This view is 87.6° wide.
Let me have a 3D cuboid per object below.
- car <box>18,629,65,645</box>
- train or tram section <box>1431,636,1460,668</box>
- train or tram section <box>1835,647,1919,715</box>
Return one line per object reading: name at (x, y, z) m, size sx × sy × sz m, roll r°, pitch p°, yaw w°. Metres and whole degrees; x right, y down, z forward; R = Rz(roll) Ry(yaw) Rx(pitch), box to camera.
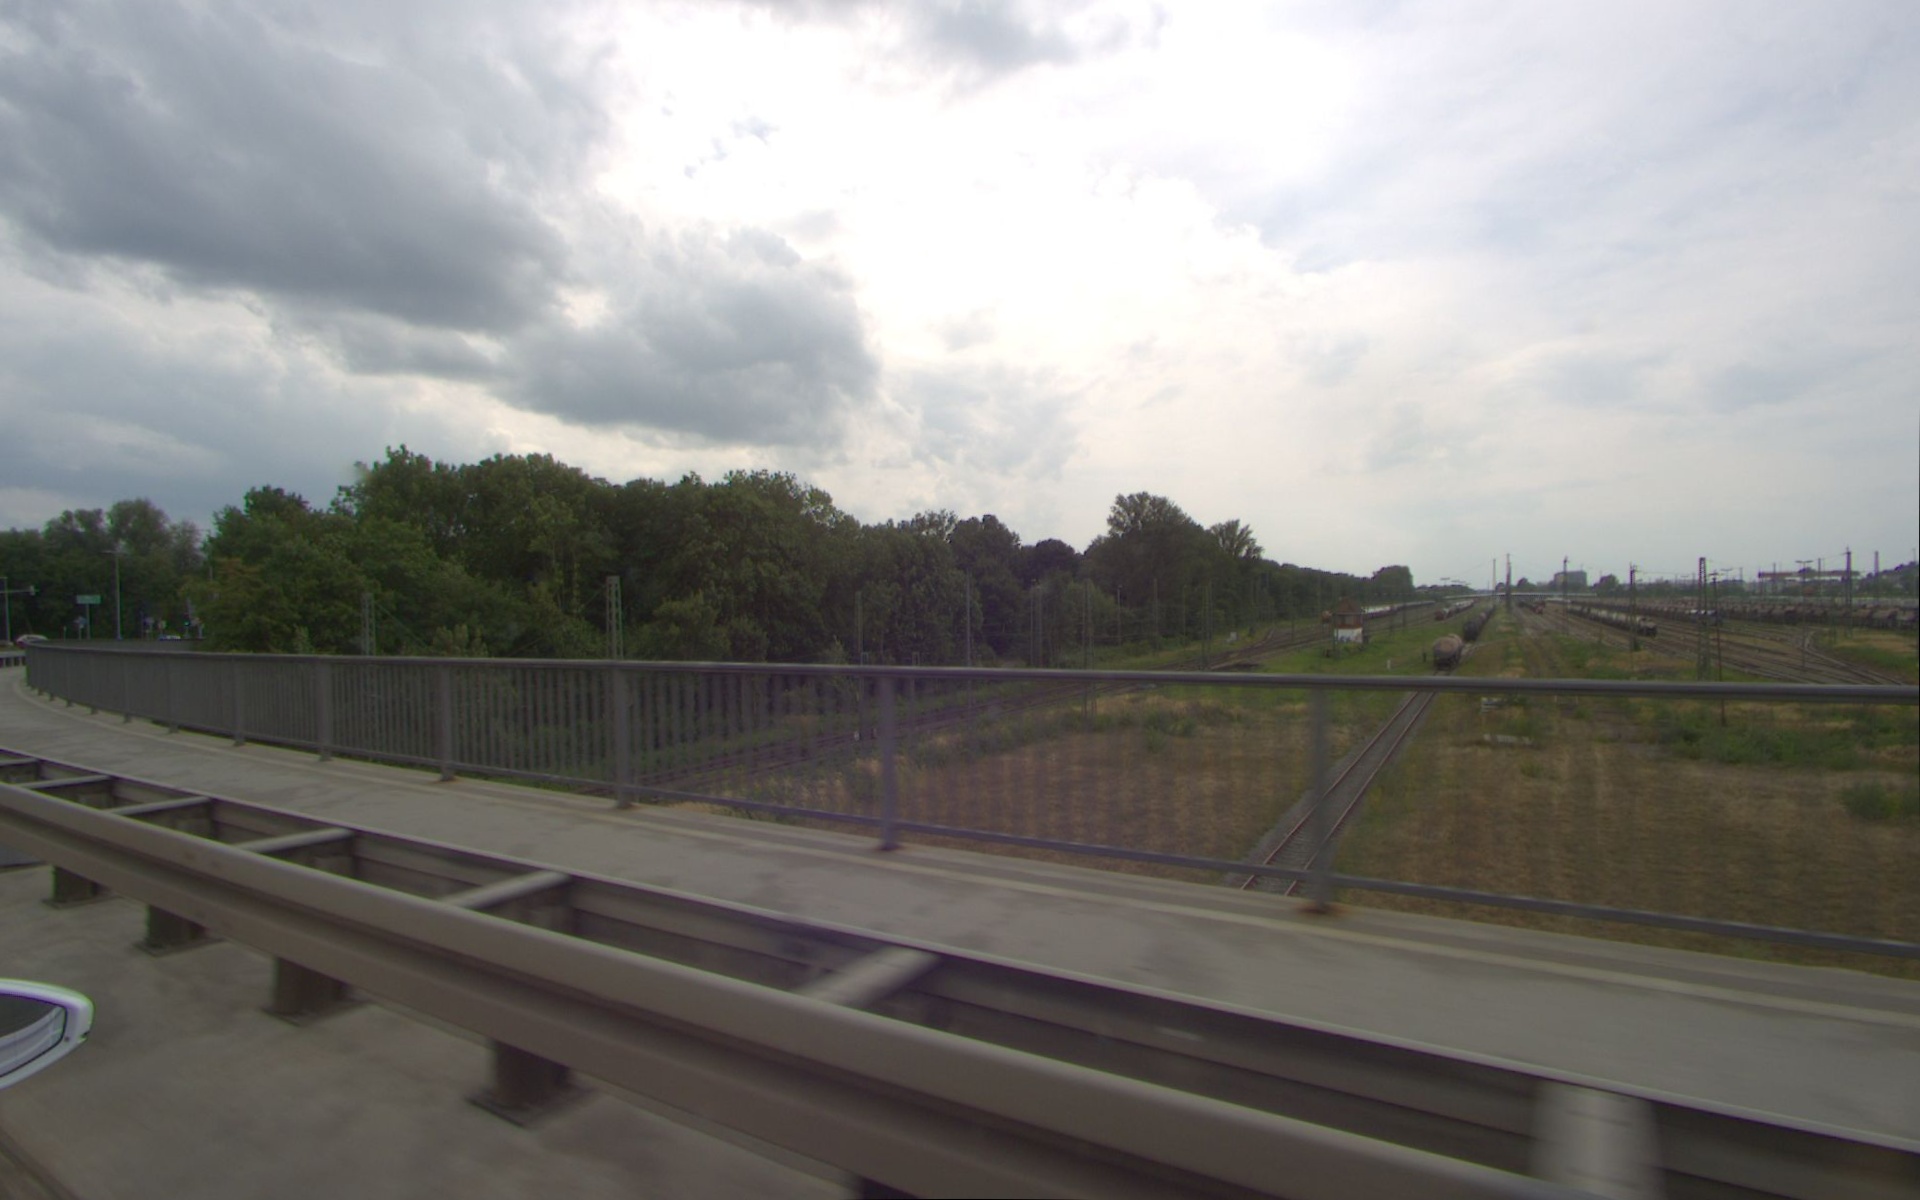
car at (-83.285, 3.351, 90.789) m, size 4.566 × 1.491 × 1.794 m, roll -1°, pitch -2°, yaw 30°
train or tram section at (66.875, 7.072, 137.907) m, size 3.202 × 4.221 × 11.344 m, roll -1°, pitch -2°, yaw 28°
train or tram section at (86.895, 7.231, 91.411) m, size 3.929 × 5.549 × 25.613 m, roll -1°, pitch -2°, yaw 26°
